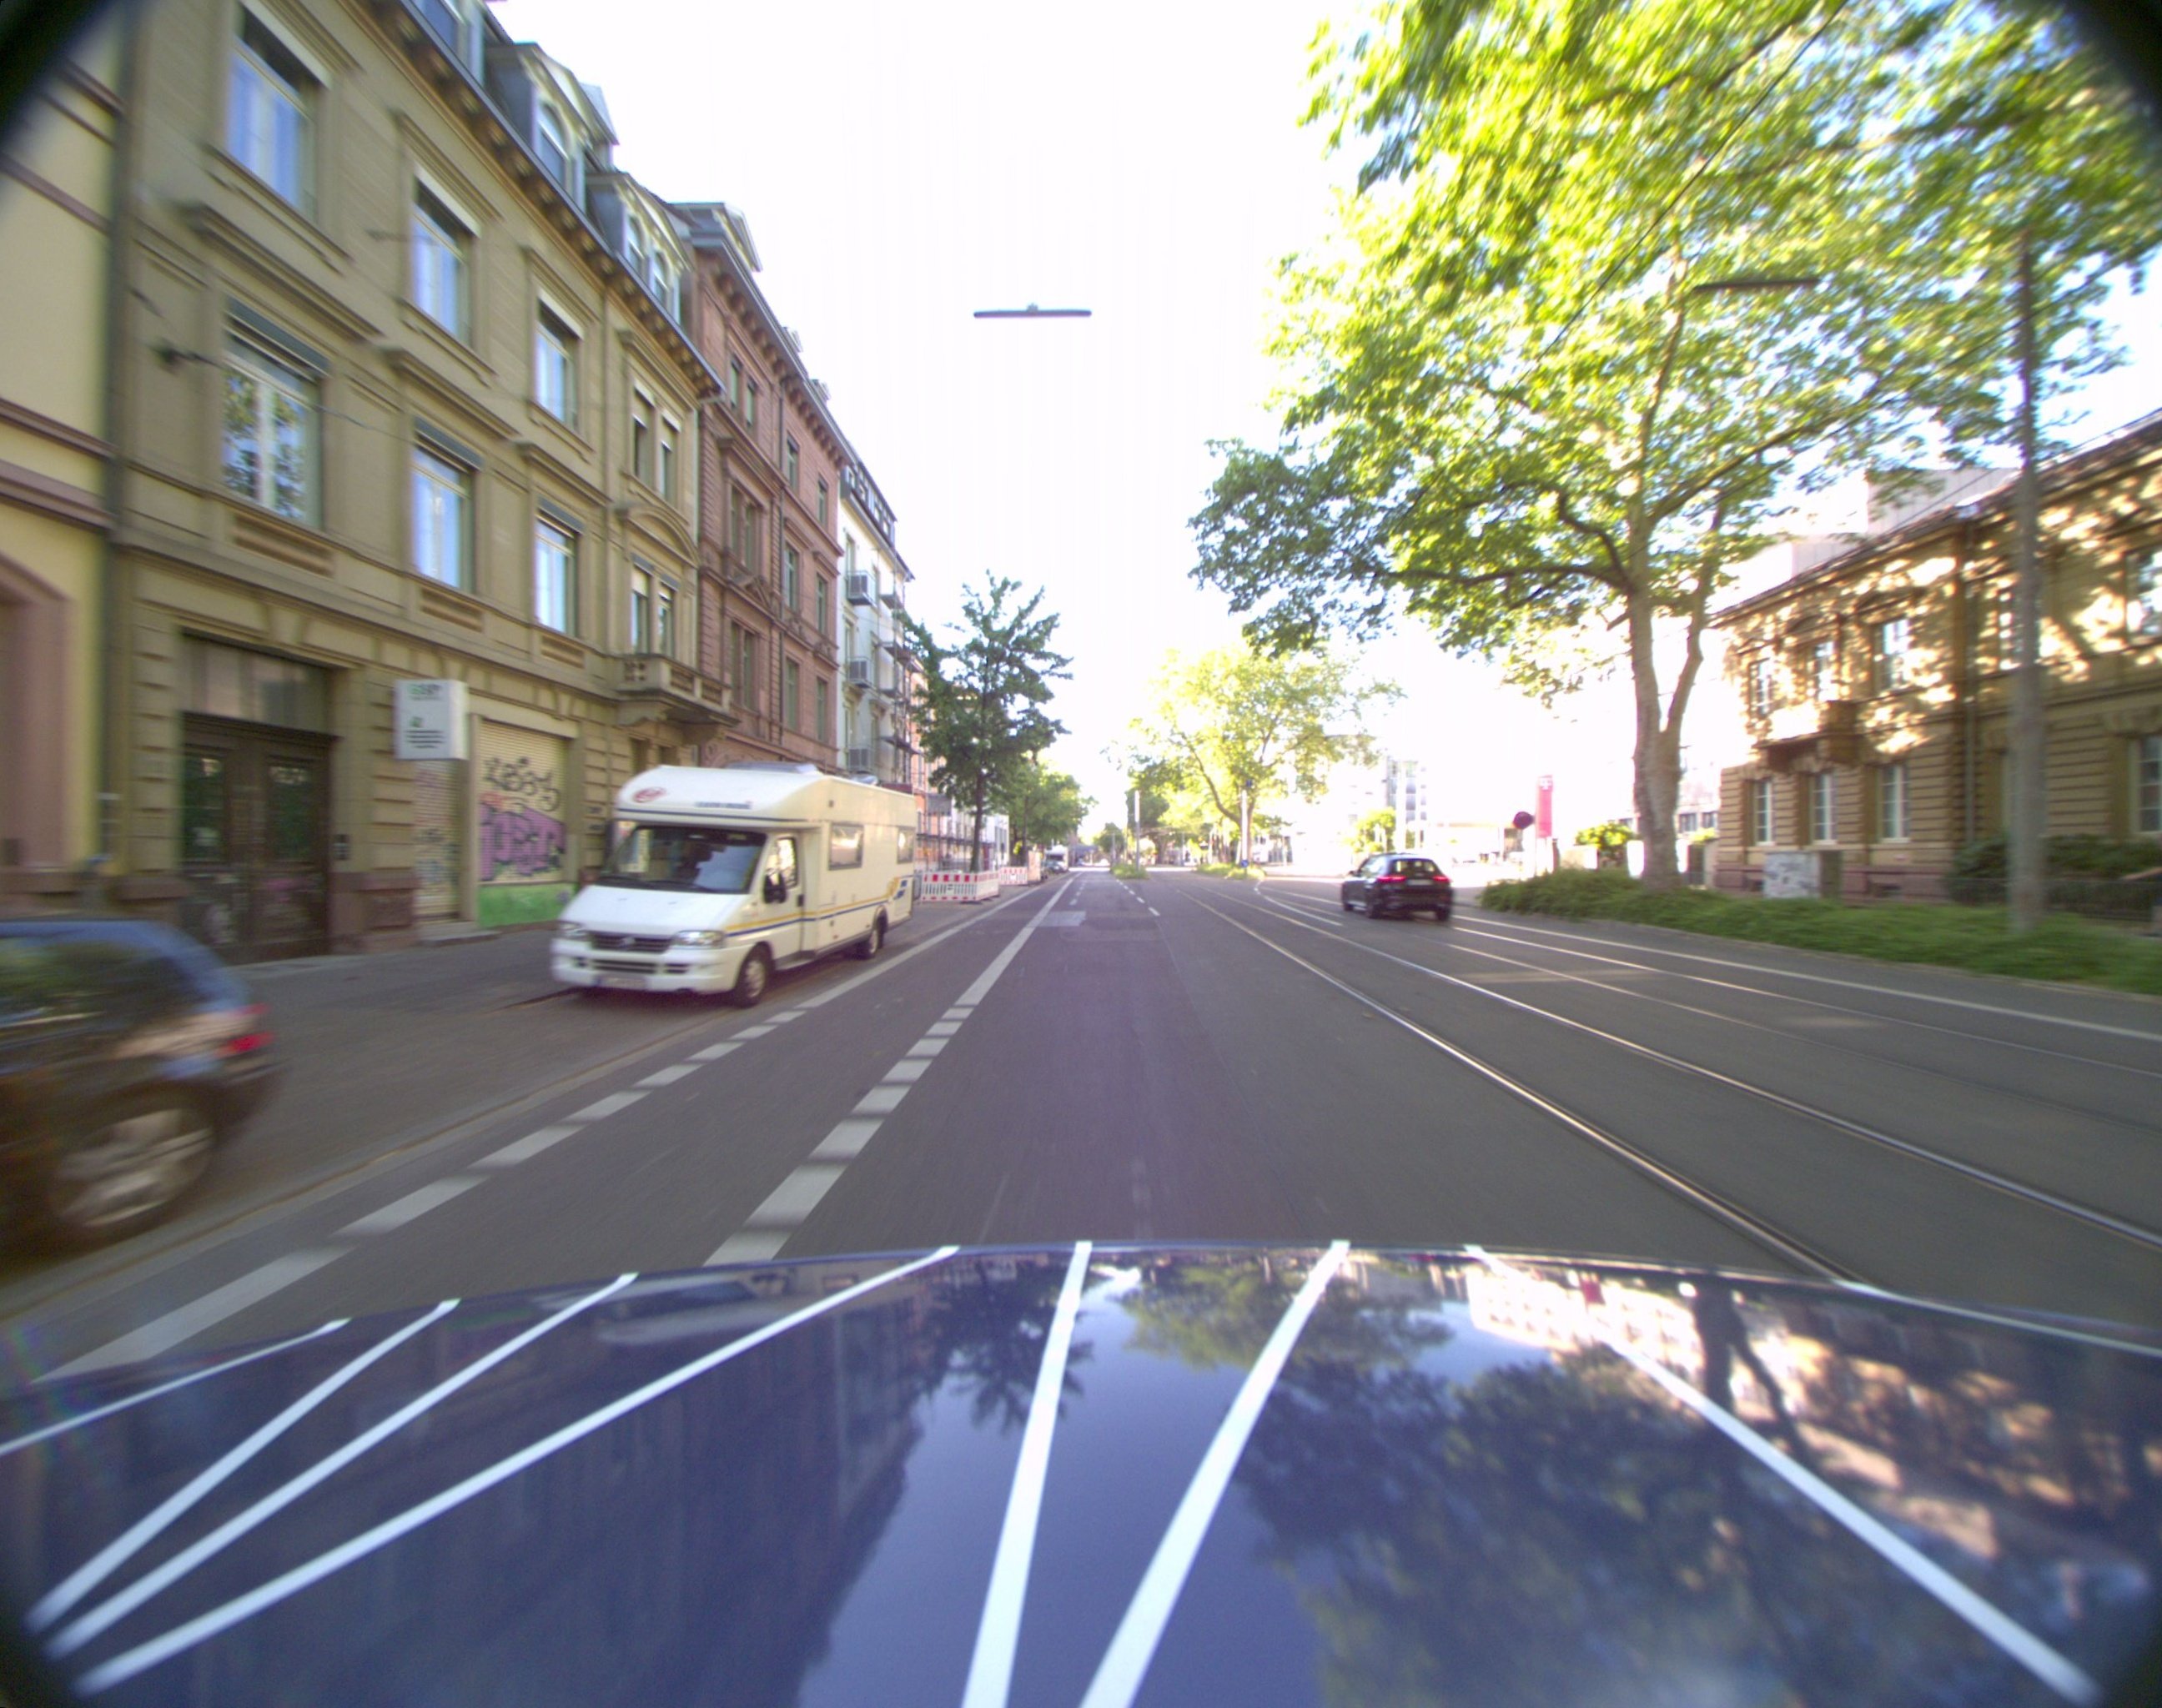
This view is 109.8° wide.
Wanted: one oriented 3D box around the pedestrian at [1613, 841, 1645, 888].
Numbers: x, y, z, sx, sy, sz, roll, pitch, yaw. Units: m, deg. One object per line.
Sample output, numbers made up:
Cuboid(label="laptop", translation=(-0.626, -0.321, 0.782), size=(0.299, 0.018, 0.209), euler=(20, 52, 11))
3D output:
Cuboid(label="pedestrian", translation=(20.008, 0.380, 27.734), size=(0.673, 1.687, 0.661), euler=(-1, 1, -5))

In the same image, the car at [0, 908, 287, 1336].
Cuboid(label="car", translation=(-4.837, 1.028, 1.735), size=(1.648, 1.426, 4.030), euler=(3, 1, 3))

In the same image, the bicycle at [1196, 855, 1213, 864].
Cuboid(label="bicycle", translation=(15.949, 0.763, 98.024), size=(2.083, 1.122, 0.760), euler=(-1, 1, -2))

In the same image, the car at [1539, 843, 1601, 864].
Cuboid(label="car", translation=(43.007, -0.055, 66.911), size=(4.277, 1.709, 1.854), euler=(-1, 1, 2))

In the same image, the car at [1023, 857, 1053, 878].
Cuboid(label="car", translation=(-3.222, 0.977, 57.893), size=(1.767, 1.475, 4.111), euler=(1, 0, 4))

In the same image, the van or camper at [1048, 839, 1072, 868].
Cuboid(label="van or camper", translation=(-2.353, -0.018, 85.341), size=(2.172, 3.074, 7.291), euler=(1, 0, 2))

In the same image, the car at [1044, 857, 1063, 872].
Cuboid(label="car", translation=(-2.660, 1.008, 74.819), size=(1.656, 1.439, 3.801), euler=(1, 0, 1))

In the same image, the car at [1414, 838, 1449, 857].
Cuboid(label="car", translation=(35.964, -0.659, 78.060), size=(1.852, 1.807, 4.000), euler=(-1, 0, 2))

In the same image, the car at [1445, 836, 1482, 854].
Cuboid(label="car", translation=(38.785, -0.898, 77.187), size=(1.852, 1.742, 4.000), euler=(-1, 0, 2))

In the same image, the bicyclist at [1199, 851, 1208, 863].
Cuboid(label="bicyclist", translation=(15.853, 0.418, 98.025), size=(1.007, 1.567, 0.760), euler=(-1, 1, -2))

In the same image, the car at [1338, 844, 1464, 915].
Cuboid(label="car", translation=(8.116, 0.599, 19.743), size=(1.870, 1.620, 4.563), euler=(0, 0, 7))

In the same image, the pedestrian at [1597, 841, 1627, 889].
Cuboid(label="pedestrian", translation=(19.321, 0.393, 27.651), size=(0.635, 1.687, 0.656), euler=(-1, 1, 0))

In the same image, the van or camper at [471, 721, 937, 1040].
Cuboid(label="van or camper", translation=(-4.422, 0.227, 11.278), size=(2.483, 2.955, 7.885), euler=(3, 1, 3))

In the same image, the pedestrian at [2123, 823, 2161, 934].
Cuboid(label="pedestrian", translation=(18.177, 0.398, 12.581), size=(0.721, 1.839, 0.837), euler=(-1, 1, -5))
